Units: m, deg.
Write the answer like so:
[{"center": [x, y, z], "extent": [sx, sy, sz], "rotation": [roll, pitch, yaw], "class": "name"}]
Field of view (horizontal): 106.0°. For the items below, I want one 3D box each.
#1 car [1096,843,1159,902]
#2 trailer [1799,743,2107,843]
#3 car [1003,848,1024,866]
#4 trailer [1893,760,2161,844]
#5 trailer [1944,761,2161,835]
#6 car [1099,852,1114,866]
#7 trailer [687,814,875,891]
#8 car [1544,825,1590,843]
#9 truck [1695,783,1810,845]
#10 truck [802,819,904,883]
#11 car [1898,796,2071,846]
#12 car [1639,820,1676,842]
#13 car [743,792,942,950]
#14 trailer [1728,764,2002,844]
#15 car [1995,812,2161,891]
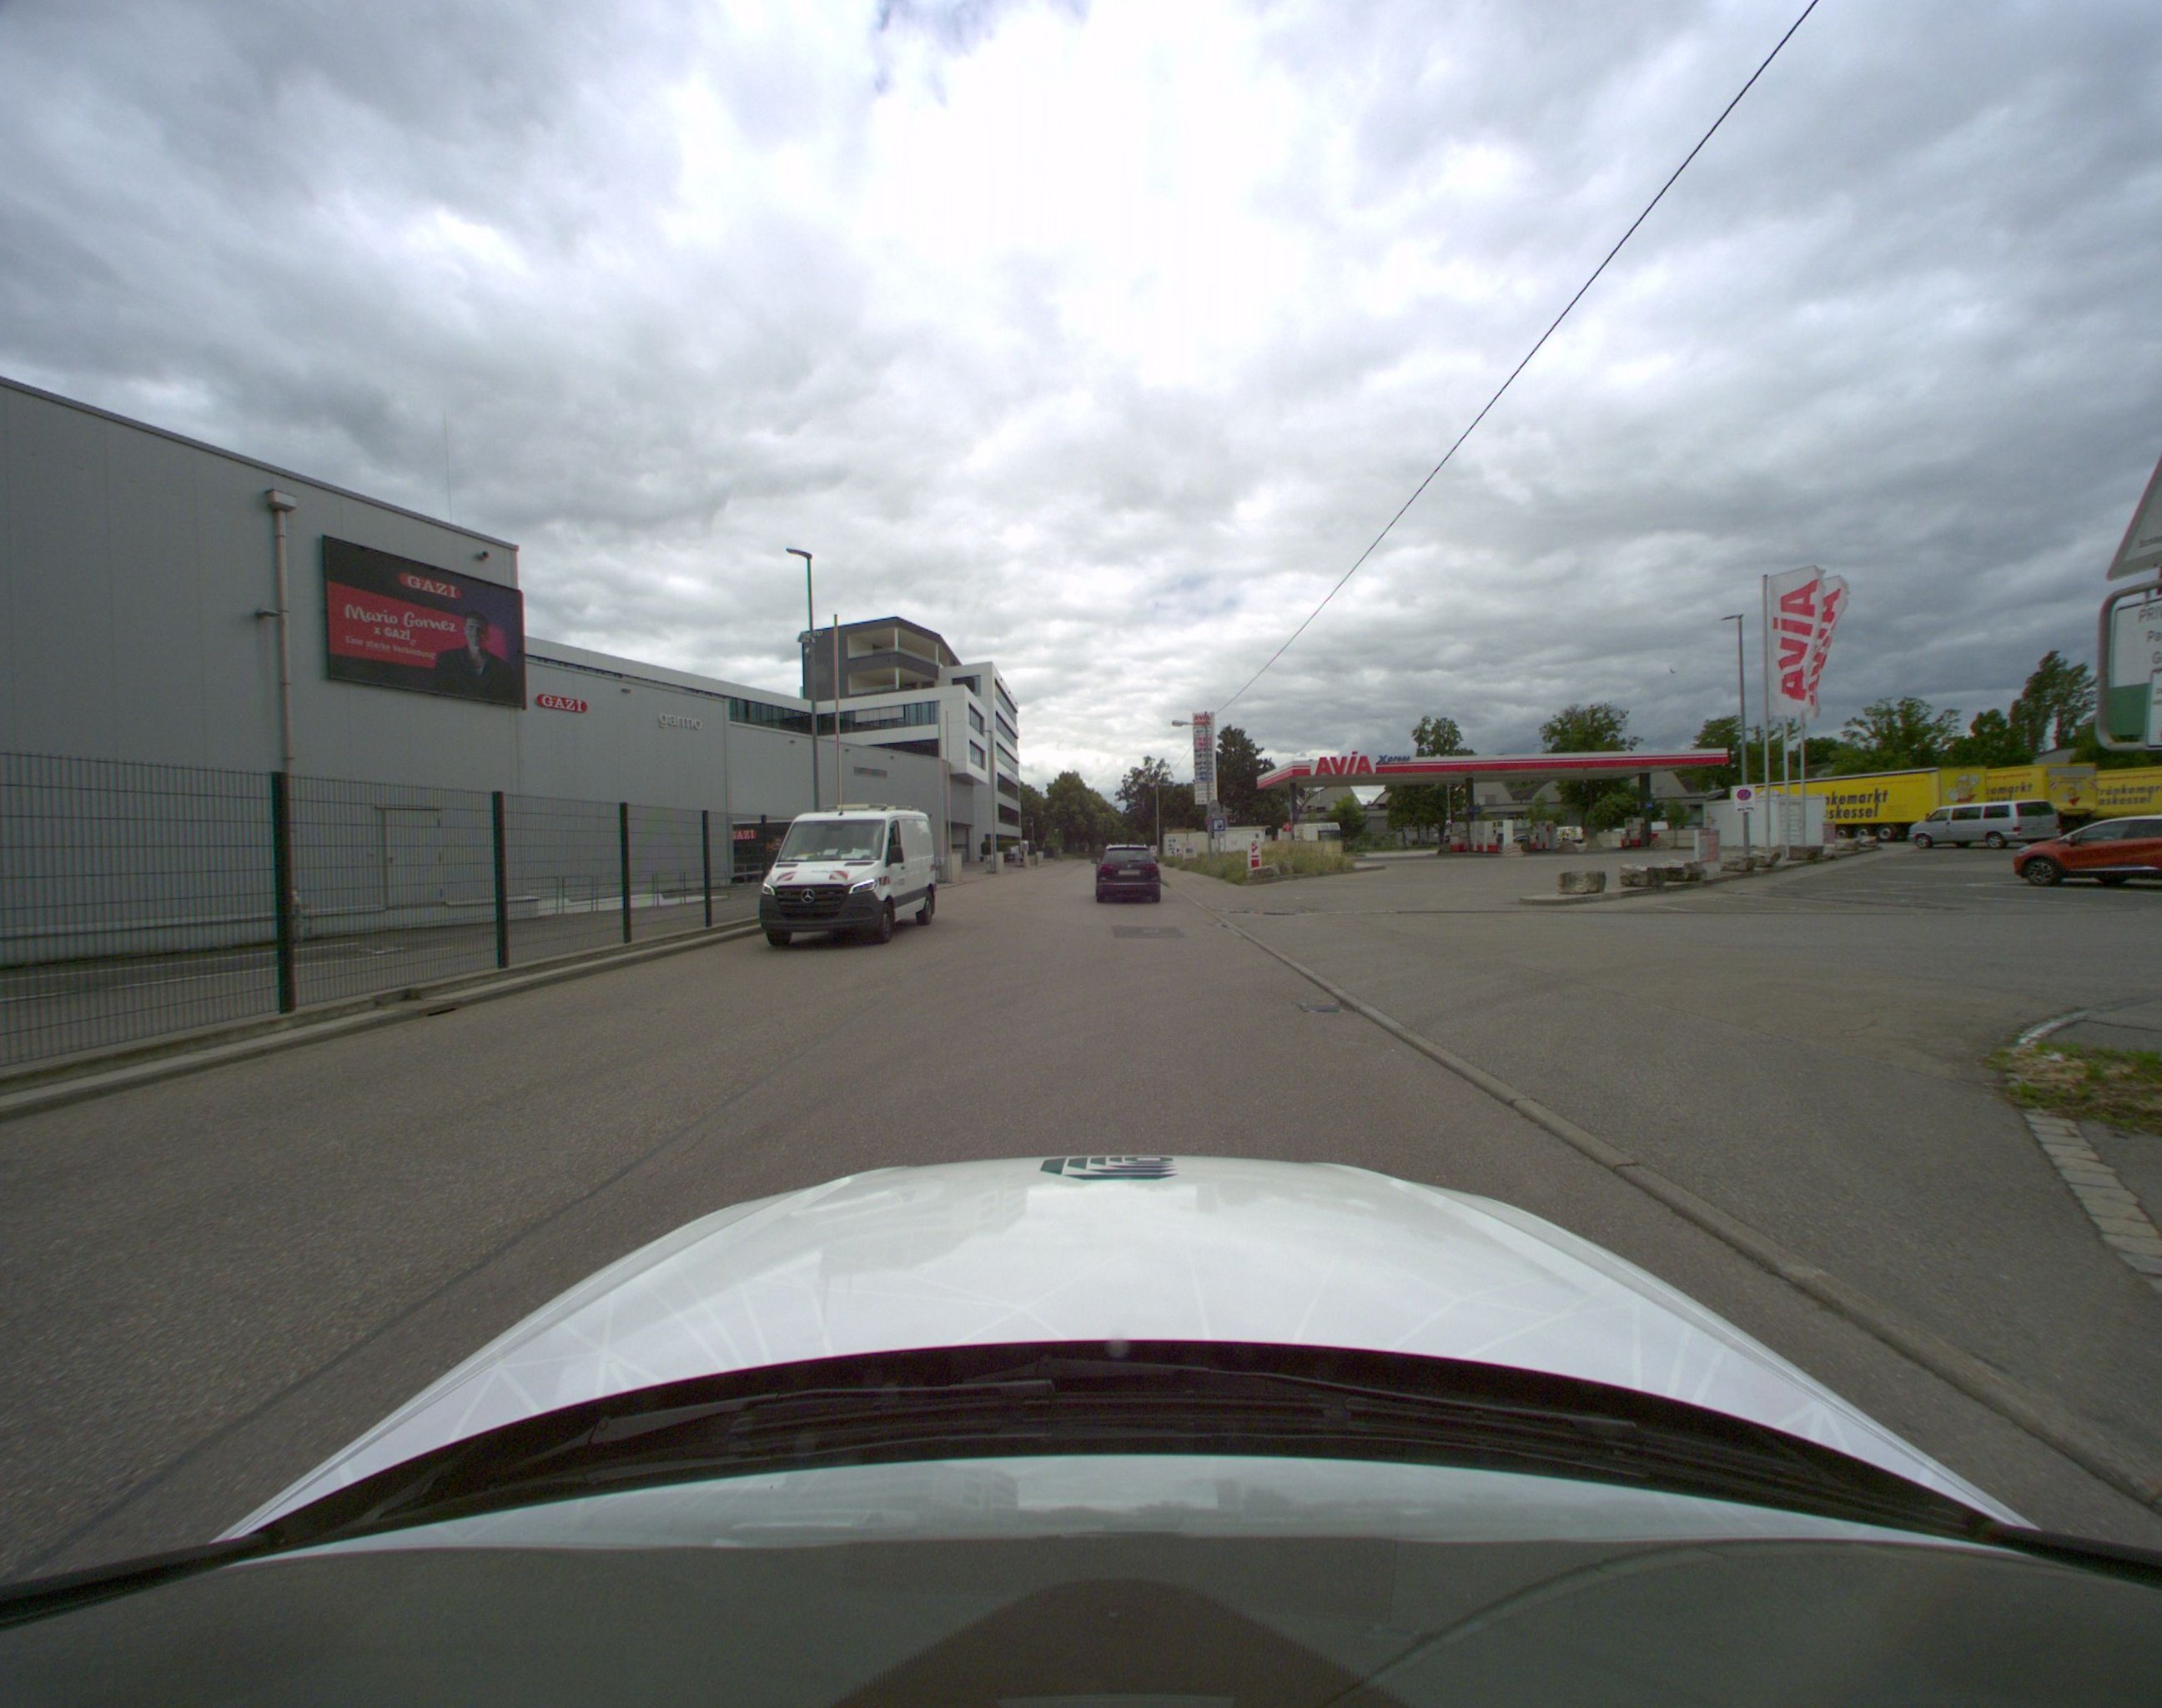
[{"center": [1.402, 0.495, 24.023], "extent": [1.731, 1.618, 3.645], "rotation": [0, 0, 4], "class": "car"}, {"center": [50.378, -3.176, 48.302], "extent": [2.989, 4.723, 14.304], "rotation": [-2, 0, 1], "class": "trailer"}, {"center": [-6.553, 0.309, 79.634], "extent": [1.643, 1.762, 3.182], "rotation": [0, 0, 3], "class": "car"}, {"center": [58.899, -2.909, 49.750], "extent": [3.010, 4.260, 15.727], "rotation": [-2, 0, 1], "class": "trailer"}, {"center": [62.554, -3.352, 48.753], "extent": [2.681, 3.915, 18.074], "rotation": [-2, 0, 1], "class": "trailer"}, {"center": [3.321, 0.645, 104.117], "extent": [1.832, 1.616, 4.002], "rotation": [-2, 0, 2], "class": "car"}, {"center": [-17.549, -0.158, 49.312], "extent": [2.718, 4.030, 12.686], "rotation": [-1, 0, 22], "class": "trailer"}, {"center": [50.501, -2.088, 84.716], "extent": [1.955, 1.645, 4.654], "rotation": [-2, 0, 1], "class": "car"}, {"center": [46.634, -2.704, 56.811], "extent": [2.946, 3.915, 6.042], "rotation": [-2, 0, 1], "class": "truck"}, {"center": [-15.244, -0.234, 54.968], "extent": [2.718, 4.030, 7.131], "rotation": [-1, 0, 22], "class": "truck"}, {"center": [38.417, -1.355, 34.862], "extent": [1.976, 1.912, 4.952], "rotation": [-2, 0, 1], "class": "car"}, {"center": [58.968, -2.327, 83.371], "extent": [2.076, 2.103, 4.930], "rotation": [-2, 0, 23], "class": "car"}, {"center": [-4.120, 0.236, 15.182], "extent": [1.986, 2.416, 5.258], "rotation": [-1, 0, 2], "class": "car"}, {"center": [46.528, -2.702, 49.587], "extent": [2.989, 3.915, 14.304], "rotation": [-2, 0, 1], "class": "trailer"}, {"center": [22.949, -0.084, 17.564], "extent": [1.758, 1.571, 4.217], "rotation": [-3, 0, 1], "class": "car"}]
